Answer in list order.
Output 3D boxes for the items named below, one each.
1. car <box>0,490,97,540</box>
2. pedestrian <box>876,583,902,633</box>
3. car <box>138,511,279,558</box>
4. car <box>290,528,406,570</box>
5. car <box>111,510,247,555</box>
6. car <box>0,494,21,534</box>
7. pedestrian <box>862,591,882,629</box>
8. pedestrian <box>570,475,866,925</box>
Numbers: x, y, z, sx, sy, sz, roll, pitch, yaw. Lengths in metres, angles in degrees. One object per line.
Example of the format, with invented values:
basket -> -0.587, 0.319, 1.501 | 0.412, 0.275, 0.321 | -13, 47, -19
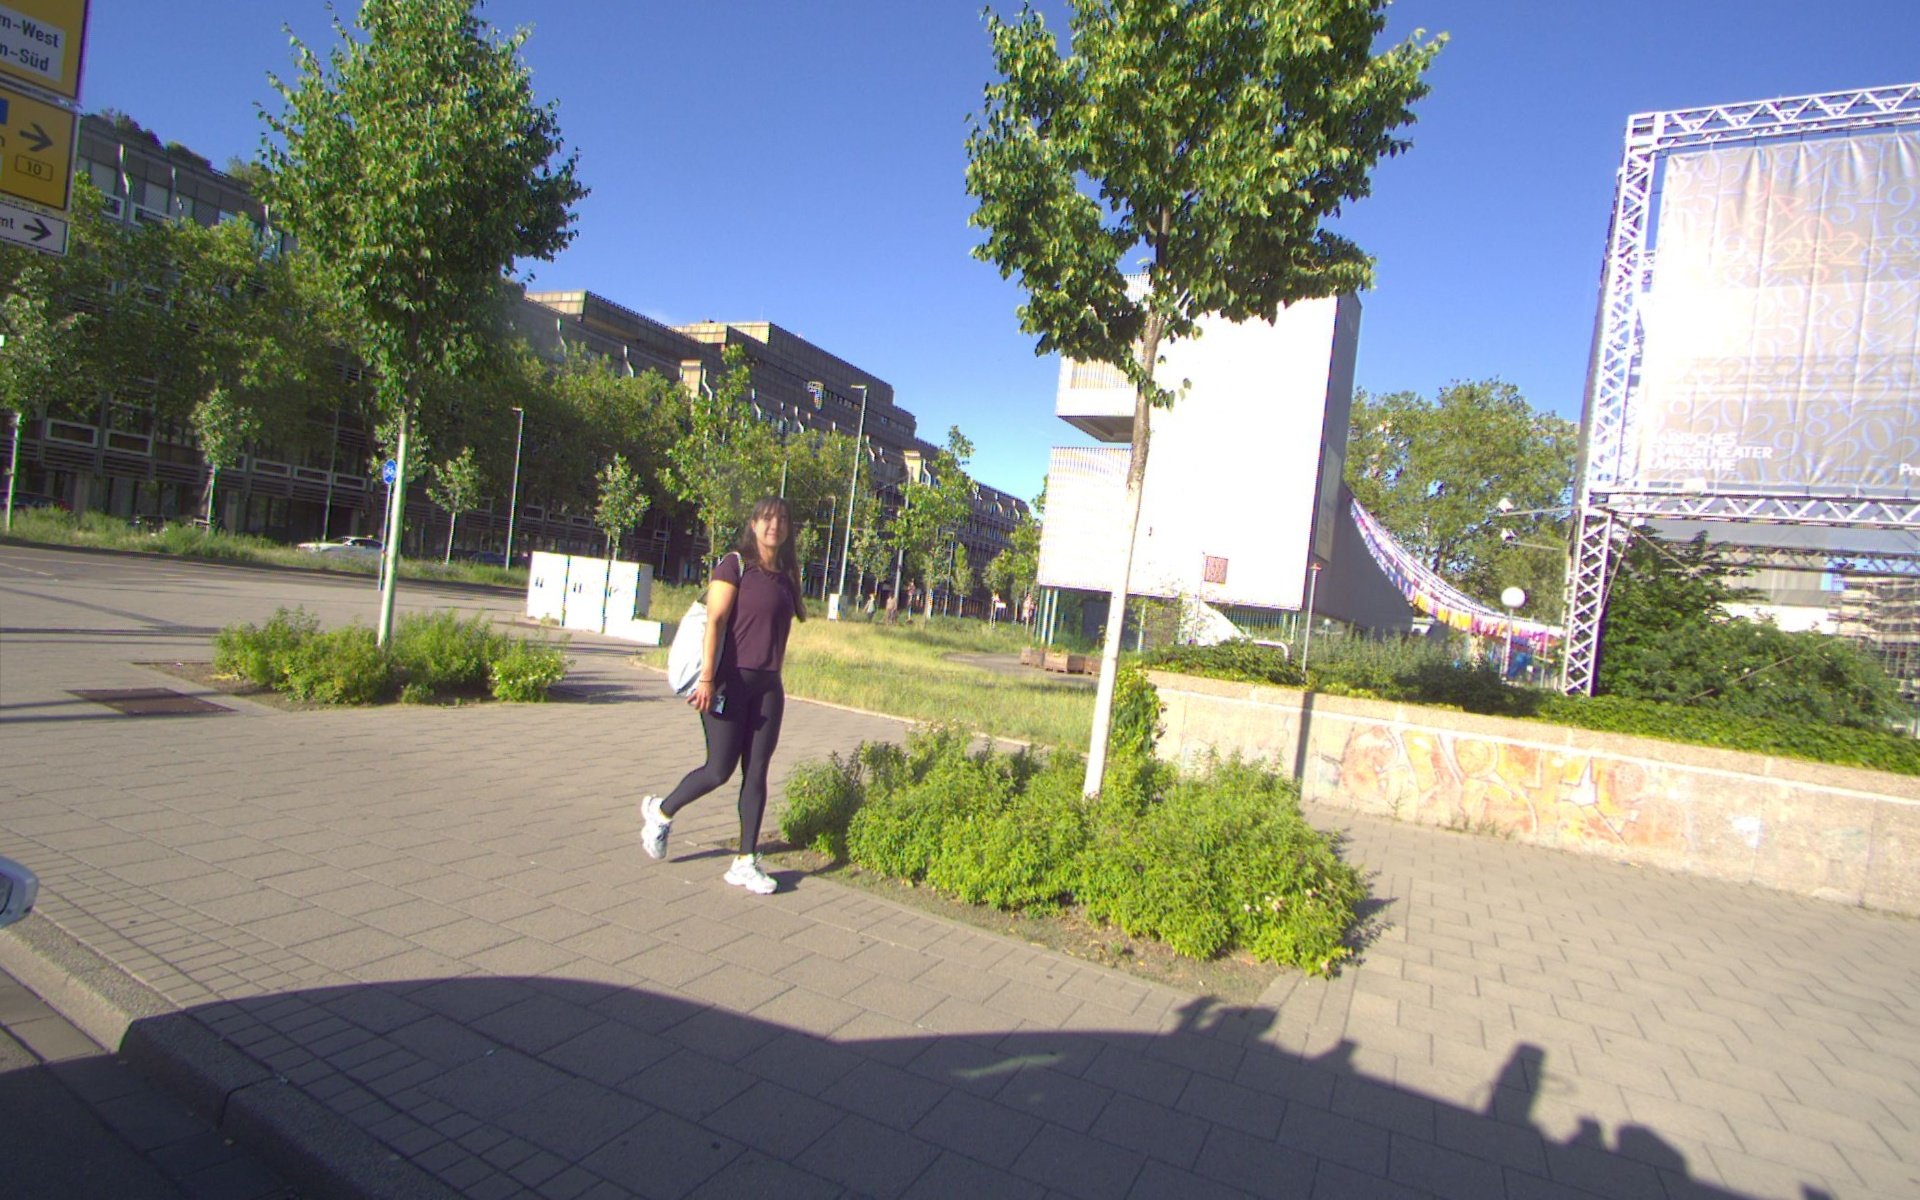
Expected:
car -> -33.888, -3.167, 35.564 | 1.965, 1.373, 4.641 | 8, 0, 27
pedestrian -> -3.023, 0.330, 42.860 | 0.669, 2.039, 0.620 | 7, 1, 23
car -> -34.009, -2.931, 45.678 | 1.965, 1.373, 4.641 | 8, 0, 27
car -> -31.052, -2.567, 51.184 | 1.965, 1.373, 4.641 | 8, 0, 27
car -> -36.926, -3.170, 47.701 | 1.965, 1.373, 4.641 | 8, 0, 27
car -> -38.193, -3.533, 37.196 | 1.965, 1.373, 4.641 | 8, 0, 27
pedestrian -> -3.934, 0.457, 44.943 | 0.513, 1.591, 0.620 | 7, 1, 23
pedestrian -> -1.132, 0.396, 4.587 | 0.817, 1.771, 1.031 | 5, 2, -37
